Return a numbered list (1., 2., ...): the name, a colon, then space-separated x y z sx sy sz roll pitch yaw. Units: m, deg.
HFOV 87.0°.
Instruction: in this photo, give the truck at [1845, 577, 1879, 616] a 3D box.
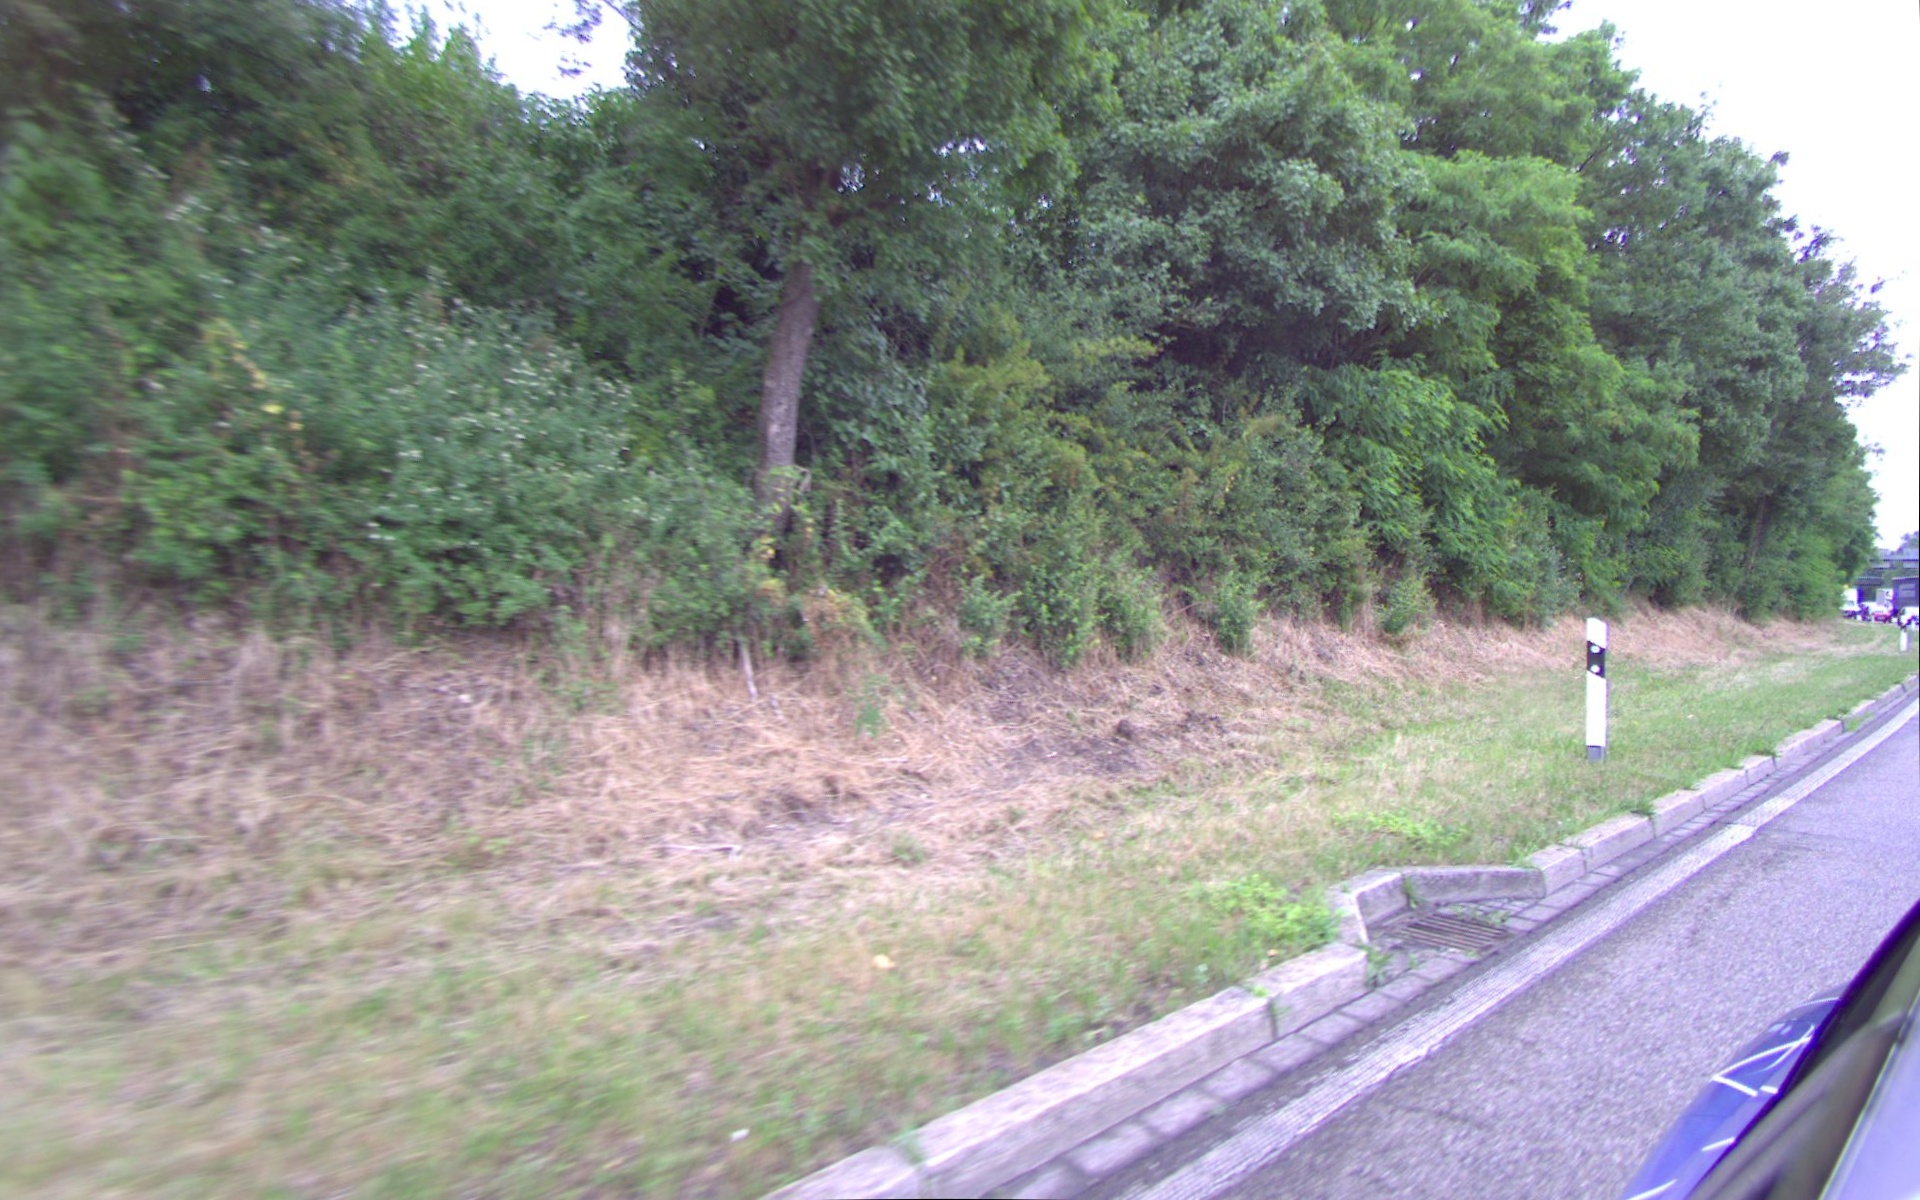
1. truck: 96.053 -0.381 107.884 2.243 4.023 6.536 1 0 38
